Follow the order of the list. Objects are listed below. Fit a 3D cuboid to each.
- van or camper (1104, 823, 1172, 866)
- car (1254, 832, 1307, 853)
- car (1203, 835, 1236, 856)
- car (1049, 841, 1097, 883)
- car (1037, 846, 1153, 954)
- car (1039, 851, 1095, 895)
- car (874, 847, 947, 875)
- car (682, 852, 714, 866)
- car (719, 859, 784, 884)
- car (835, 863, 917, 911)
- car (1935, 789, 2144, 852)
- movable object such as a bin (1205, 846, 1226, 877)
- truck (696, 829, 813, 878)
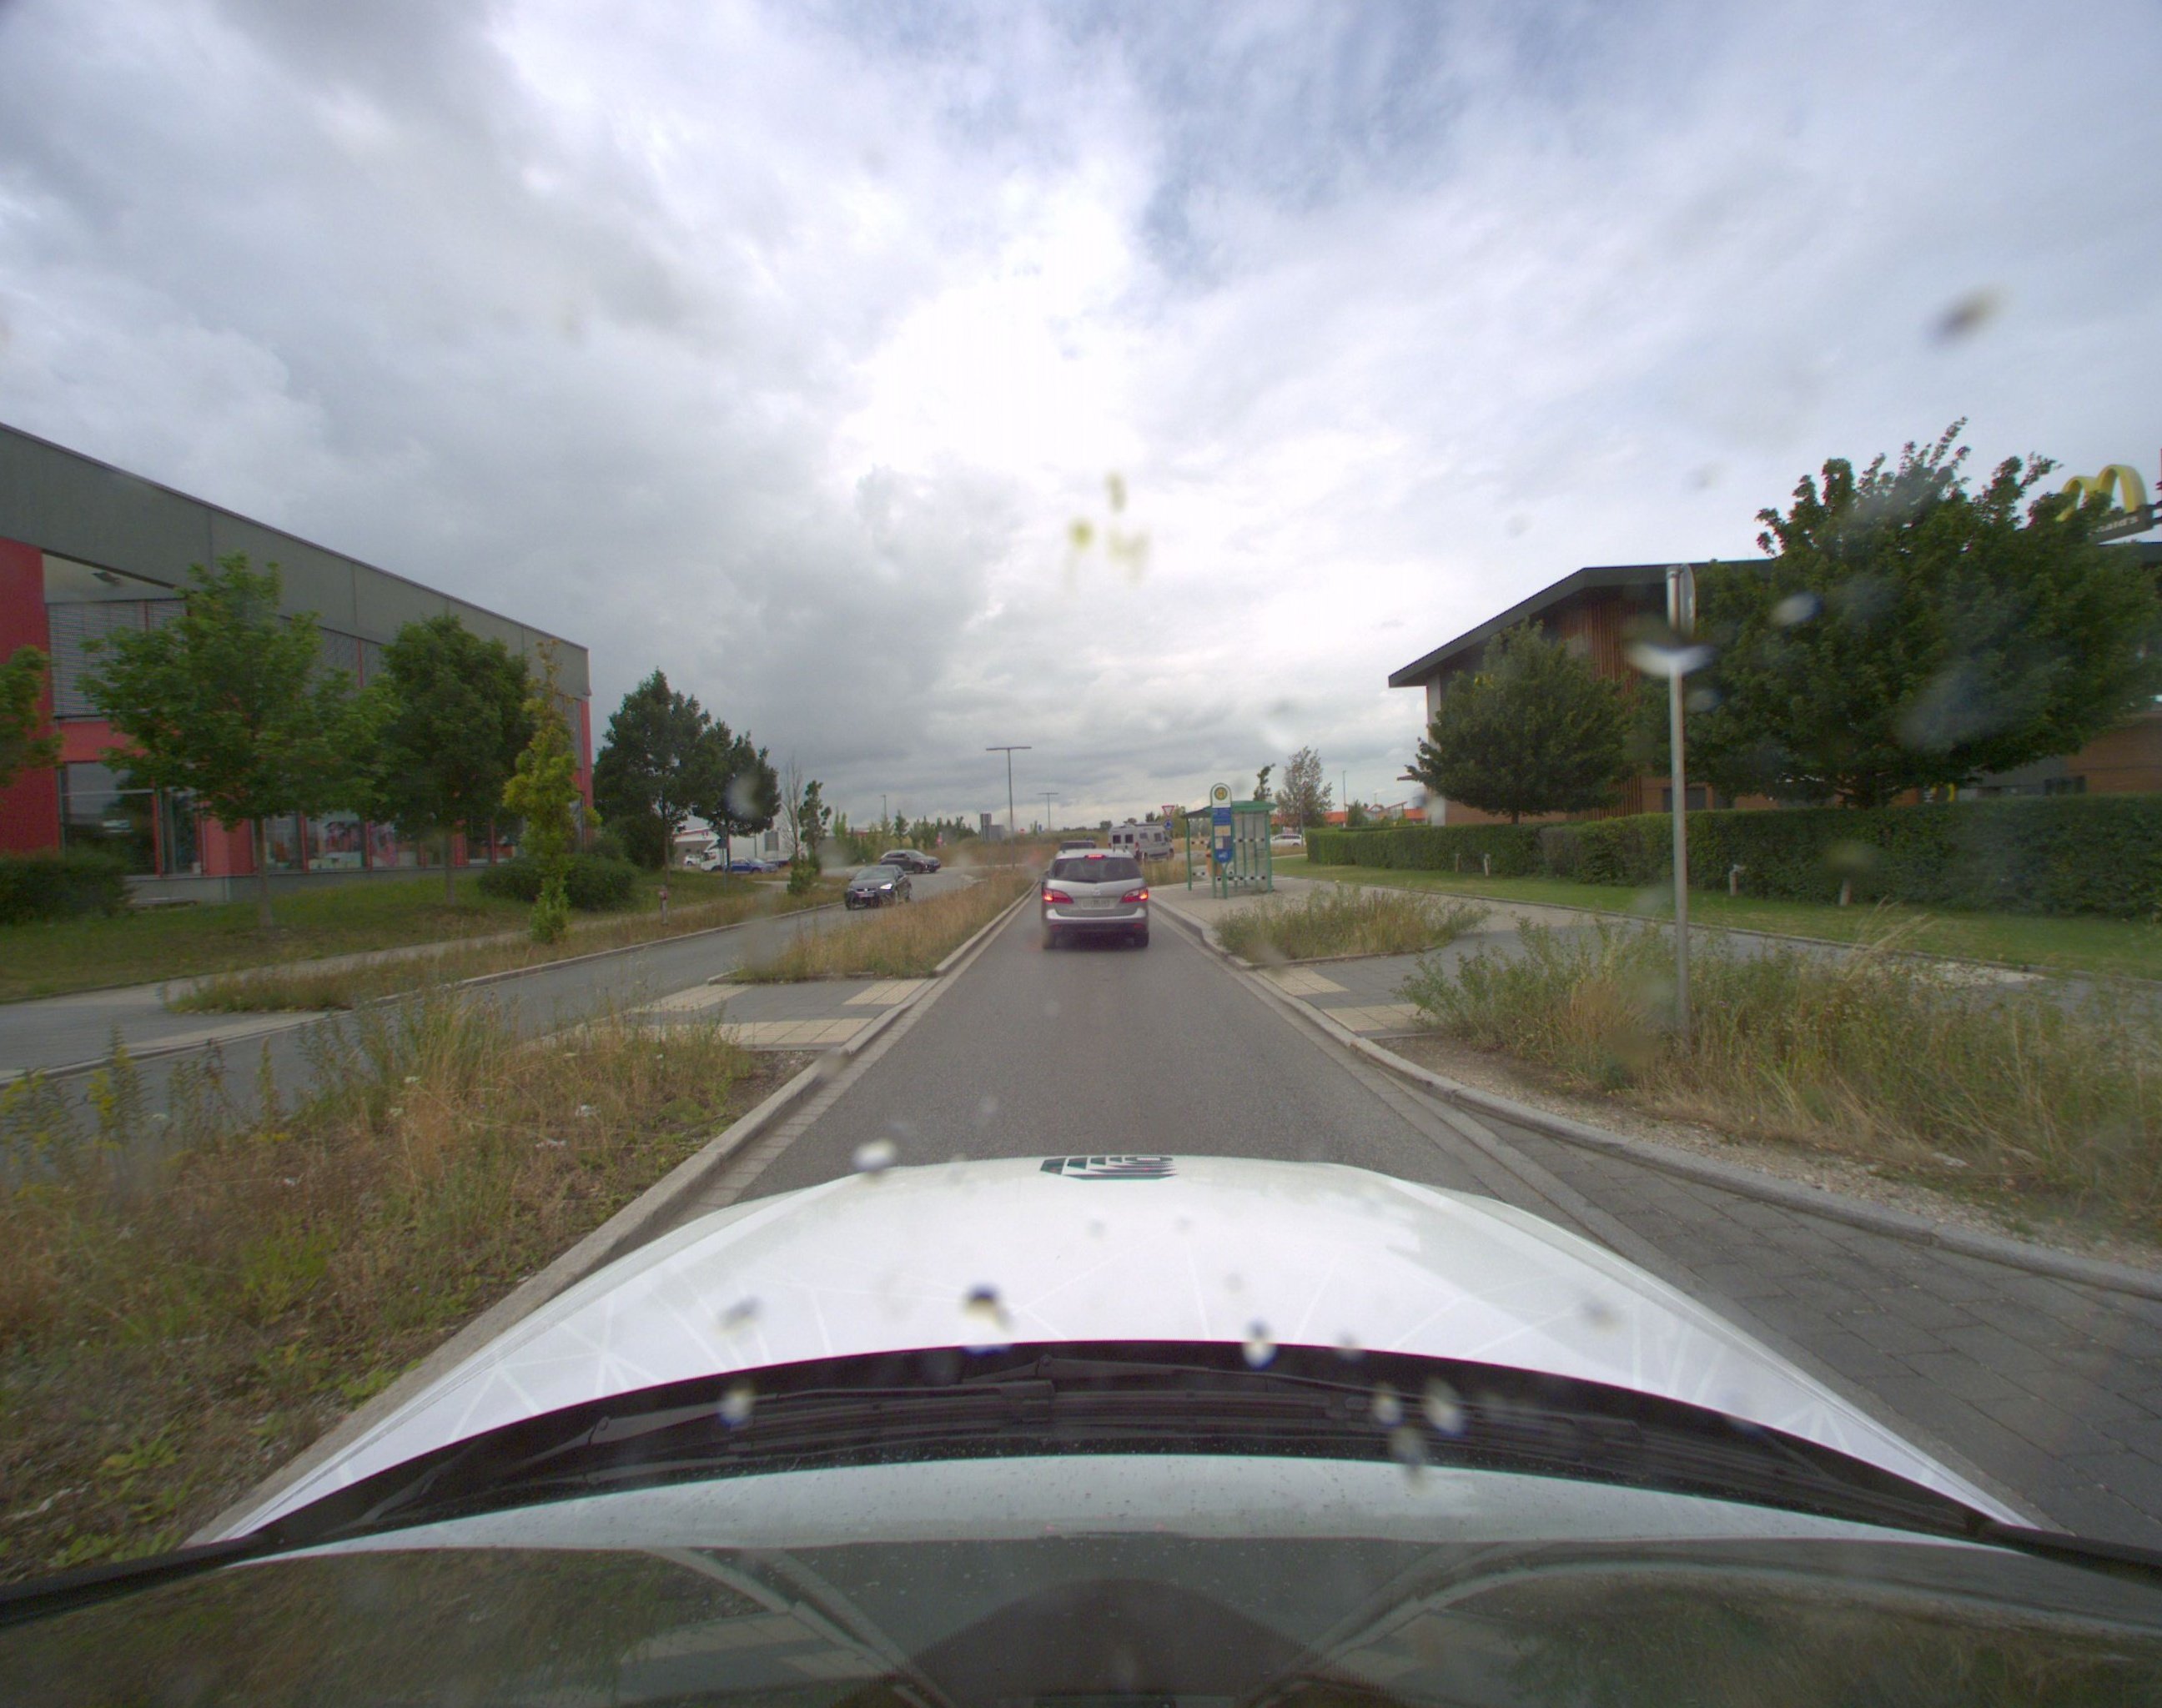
[{"bbox_3d":[3.692,-0.630,51.299,2.281,2.506,5.238,-1,0,28],"label":"van or camper"},{"bbox_3d":[18.137,-1.025,74.292,4.574,1.757,2.006,-2,0,10],"label":"car"},{"bbox_3d":[11.019,-0.658,64.492,1.977,1.515,4.019,-2,0,18],"label":"car"},{"bbox_3d":[-0.305,0.361,39.126,2.051,1.825,4.788,-2,0,1],"label":"car"},{"bbox_3d":[0.165,0.679,14.250,1.725,1.600,3.805,-1,1,-2],"label":"car"},{"bbox_3d":[-0.456,0.645,30.237,1.838,1.418,4.226,-2,1,1],"label":"car"},{"bbox_3d":[-11.062,0.464,52.917,4.151,1.592,2.078,-3,1,26],"label":"car"},{"bbox_3d":[-58.861,0.713,125.251,3.977,2.013,1.998,-2,0,-2],"label":"car"},{"bbox_3d":[-24.478,1.310,60.471,4.179,1.528,1.856,-4,0,19],"label":"car"},{"bbox_3d":[-7.138,1.103,28.763,1.836,1.407,3.999,-4,0,0],"label":"car"},{"bbox_3d":[28.765,-0.984,24.552,3.974,1.717,2.000,-2,0,-1],"label":"car"},{"bbox_3d":[3.596,0.200,21.770,0.454,0.798,0.380,-2,0,-1],"label":"movable object such as a bin"},{"bbox_3d":[-29.194,-0.088,73.353,9.330,3.906,3.124,-2,0,-18],"label":"truck"}]
